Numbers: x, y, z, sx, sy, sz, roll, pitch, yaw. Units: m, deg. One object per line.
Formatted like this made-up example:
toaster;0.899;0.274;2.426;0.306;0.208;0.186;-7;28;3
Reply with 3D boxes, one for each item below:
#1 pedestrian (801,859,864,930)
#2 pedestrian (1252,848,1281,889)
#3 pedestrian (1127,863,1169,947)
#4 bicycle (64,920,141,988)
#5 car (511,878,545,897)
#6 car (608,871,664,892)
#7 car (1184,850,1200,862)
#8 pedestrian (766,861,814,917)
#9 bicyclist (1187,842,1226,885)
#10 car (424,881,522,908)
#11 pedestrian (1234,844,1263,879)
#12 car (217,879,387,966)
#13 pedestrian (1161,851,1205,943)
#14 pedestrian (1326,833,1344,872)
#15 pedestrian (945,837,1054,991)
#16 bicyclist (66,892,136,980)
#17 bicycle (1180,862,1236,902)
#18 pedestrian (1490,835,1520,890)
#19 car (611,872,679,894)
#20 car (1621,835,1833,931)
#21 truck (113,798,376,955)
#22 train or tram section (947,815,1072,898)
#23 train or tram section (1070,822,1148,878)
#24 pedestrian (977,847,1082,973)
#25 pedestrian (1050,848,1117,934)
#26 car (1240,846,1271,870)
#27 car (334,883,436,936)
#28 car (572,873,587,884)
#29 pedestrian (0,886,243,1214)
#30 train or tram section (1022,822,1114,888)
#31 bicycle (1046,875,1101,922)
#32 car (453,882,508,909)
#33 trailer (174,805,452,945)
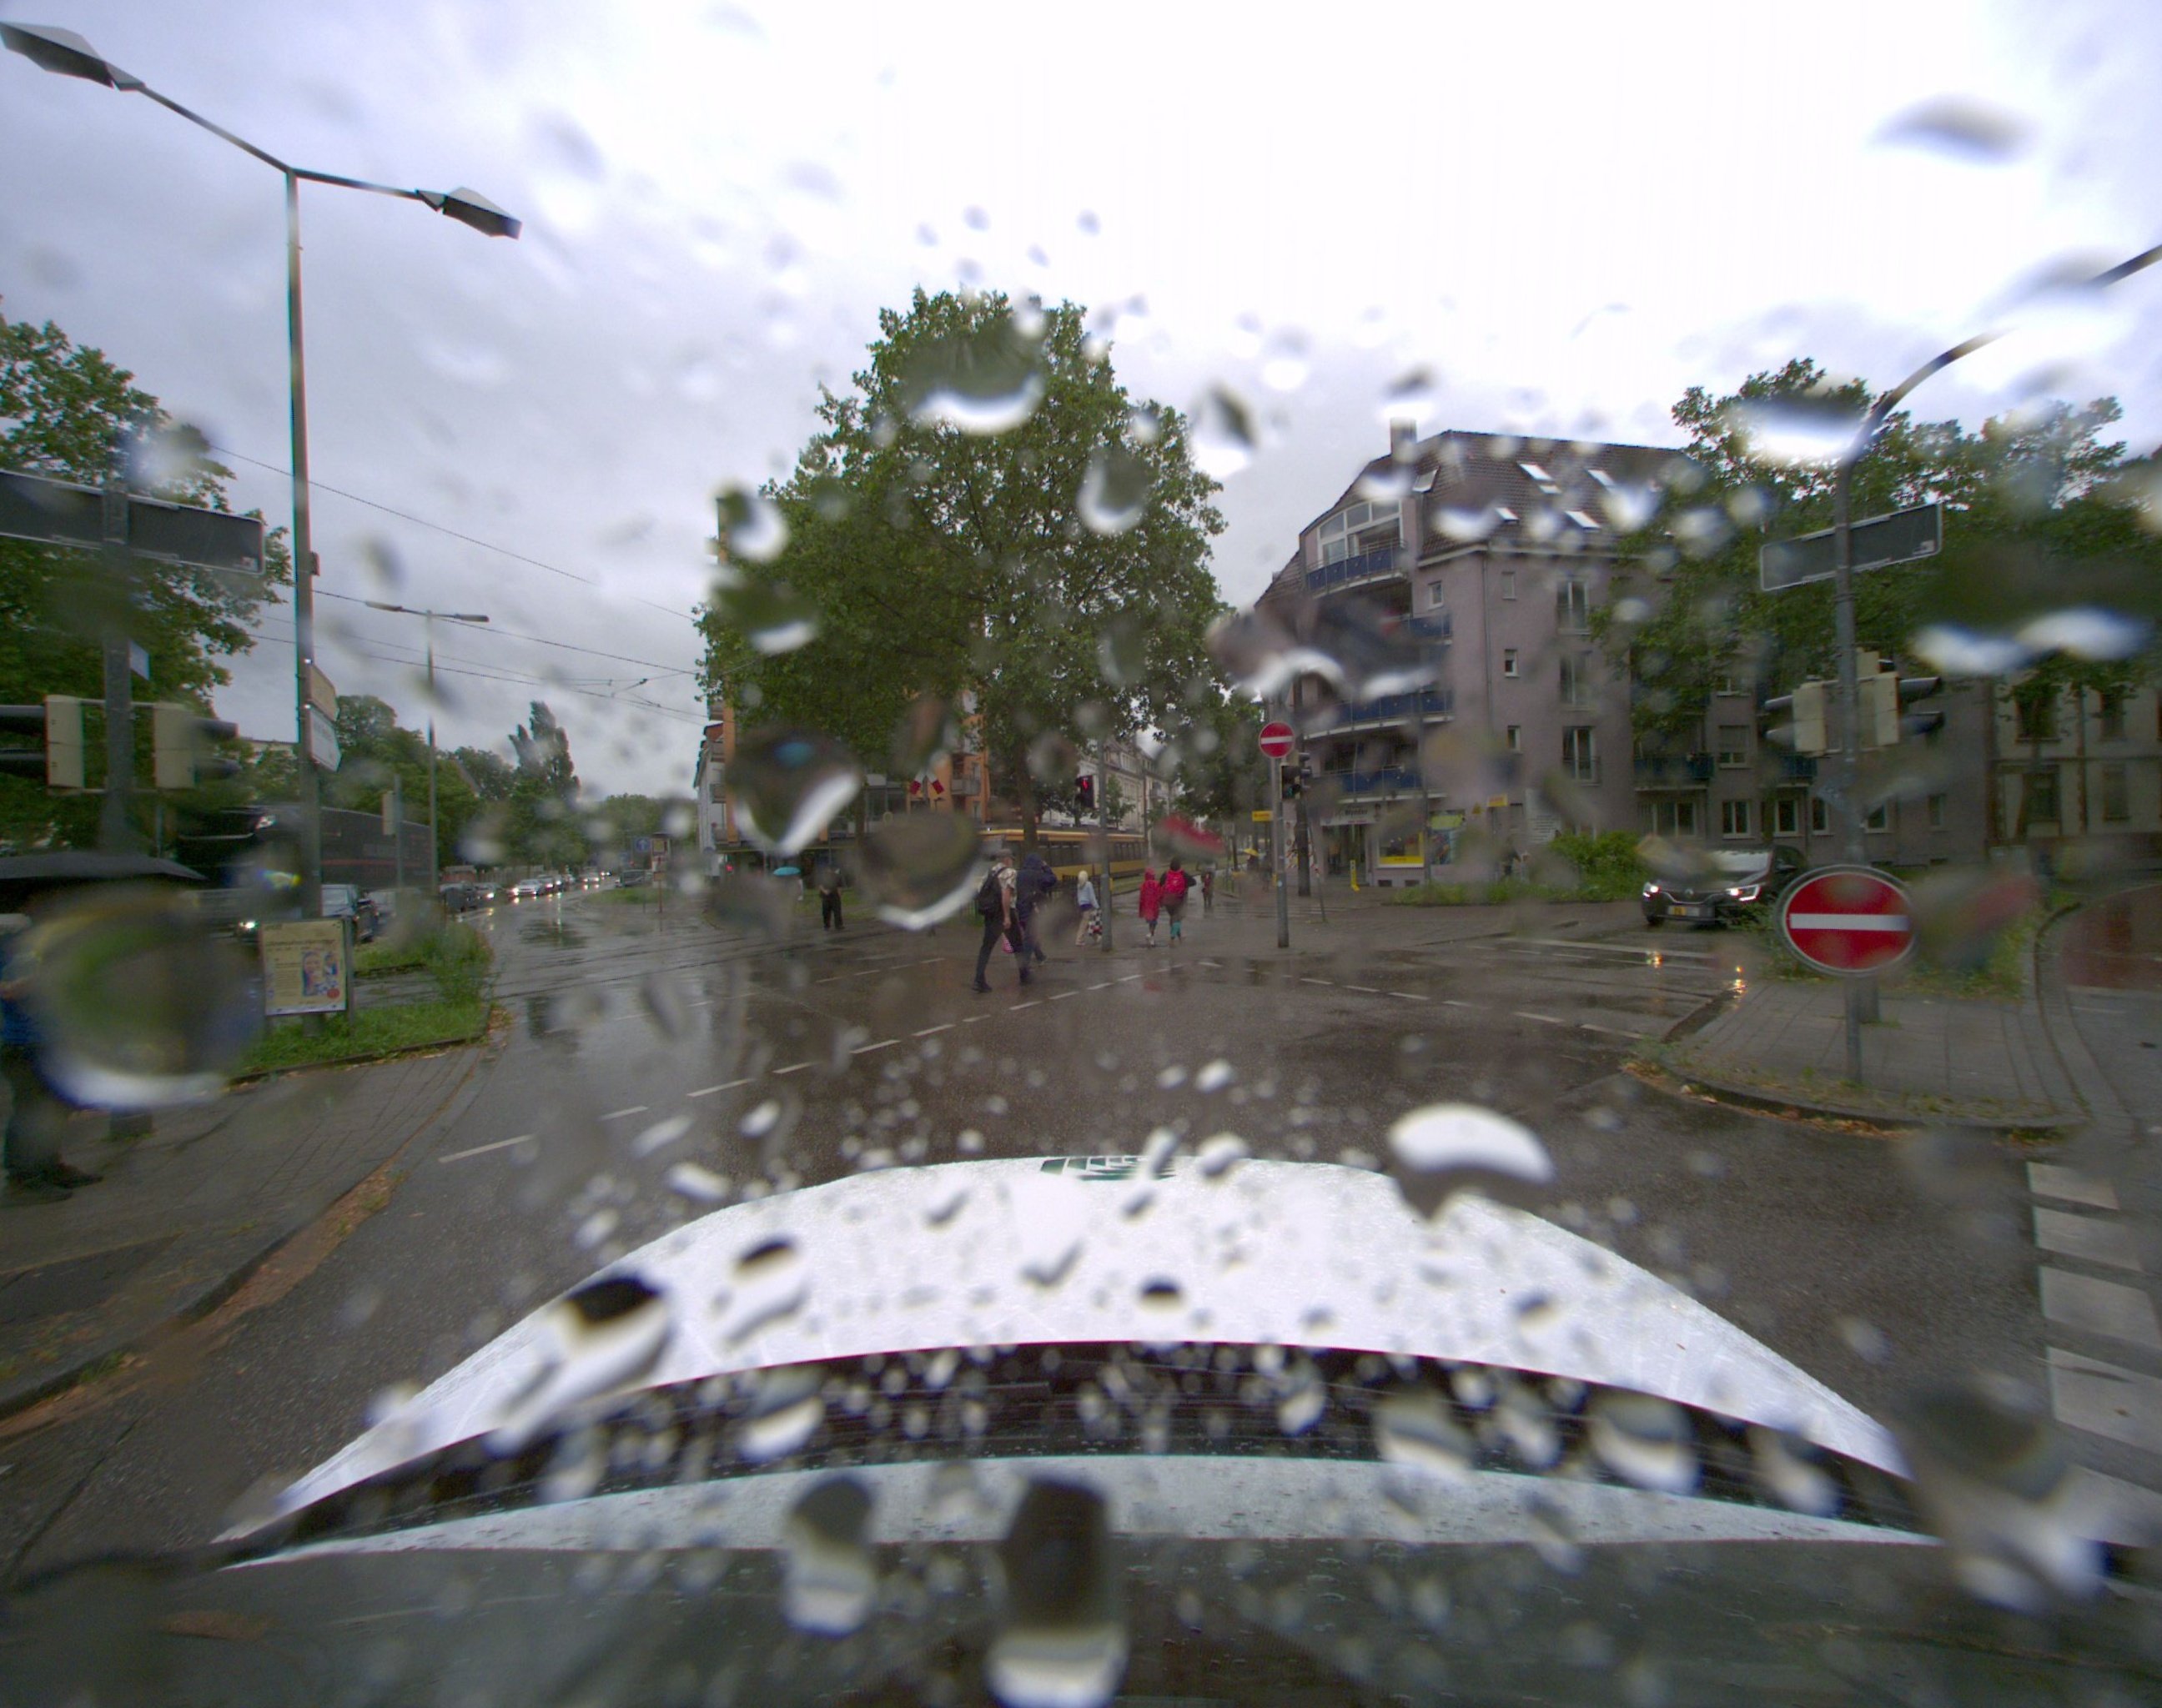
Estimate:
pedestrian;-6.574;1.046;21.552;1.221;1.788;1.045;-2;0;39
pedestrian;7.188;0.554;31.504;0.984;1.559;0.787;-2;0;16
pedestrian;1.199;0.881;14.484;0.668;1.381;1.012;-3;1;5
bicycle;-17.534;1.764;14.624;0.536;1.024;1.852;-3;0;-40
car;-44.919;2.731;66.186;1.785;1.403;4.785;-1;-1;-28
car;-38.759;2.405;70.995;4.215;1.568;1.871;-2;0;-29
car;15.653;0.290;114.721;1.980;1.533;4.014;-2;0;12
pedestrian;-10.113;1.176;28.283;1.180;1.865;1.369;-1;1;-39
bicyclist;4.024;0.296;26.136;0.744;1.309;1.068;-3;1;-24
car;-39.570;2.612;53.042;4.889;1.454;2.089;-2;0;5
pedestrian;8.256;0.381;40.115;0.926;1.697;0.944;-2;0;-41
car;-18.788;1.532;19.926;2.088;1.682;4.879;1;0;-33
pedestrian;1.799;0.733;14.382;0.687;1.547;0.763;-3;0;6
pedestrian;10.451;-0.071;33.537;0.467;1.602;0.597;-2;0;42
pedestrian;-1.014;0.703;10.168;0.802;1.781;1.000;-2;1;43
bicyclist;-17.530;1.439;14.587;0.584;1.461;0.999;-3;0;-40
bicycle;4.050;0.873;26.163;0.754;1.173;2.025;-3;1;-23
pedestrian;14.067;0.281;27.004;0.625;1.804;0.635;-3;1;-39
car;-33.928;2.236;63.461;4.558;1.470;1.966;-3;0;-27
car;11.864;0.437;14.880;4.196;1.461;1.973;-2;0;-36
truck;-25.068;0.570;25.011;3.469;4.078;6.912;-2;0;-27
train or tram section;-3.075;0.086;38.067;2.616;3.369;8.415;-2;0;18
train or tram section;2.116;-0.264;54.891;2.617;3.351;10.032;-2;0;17
pedestrian;-0.746;0.768;11.776;1.062;1.686;0.984;-3;1;-44
pedestrian;0.064;0.667;15.139;0.868;1.525;1.070;-2;0;21
car;13.278;0.290;61.839;1.978;1.673;4.017;-2;0;16
car;-21.901;1.688;25.772;1.709;1.373;4.060;-2;0;-30
car;-79.088;3.812;128.457;1.788;1.530;3.958;-1;1;-34
pedestrian;-5.378;0.998;4.561;0.868;1.581;0.635;-3;1;-44
train or tram section;-0.554;0.019;46.080;2.617;3.351;8.414;-2;0;17
bicycle;-0.168;1.108;20.671;0.440;1.077;1.629;-2;0;38
car;-35.660;2.415;48.455;1.735;1.361;4.301;-3;1;-25
trailer;-28.159;0.636;31.222;3.461;4.048;14.918;-2;0;-27
